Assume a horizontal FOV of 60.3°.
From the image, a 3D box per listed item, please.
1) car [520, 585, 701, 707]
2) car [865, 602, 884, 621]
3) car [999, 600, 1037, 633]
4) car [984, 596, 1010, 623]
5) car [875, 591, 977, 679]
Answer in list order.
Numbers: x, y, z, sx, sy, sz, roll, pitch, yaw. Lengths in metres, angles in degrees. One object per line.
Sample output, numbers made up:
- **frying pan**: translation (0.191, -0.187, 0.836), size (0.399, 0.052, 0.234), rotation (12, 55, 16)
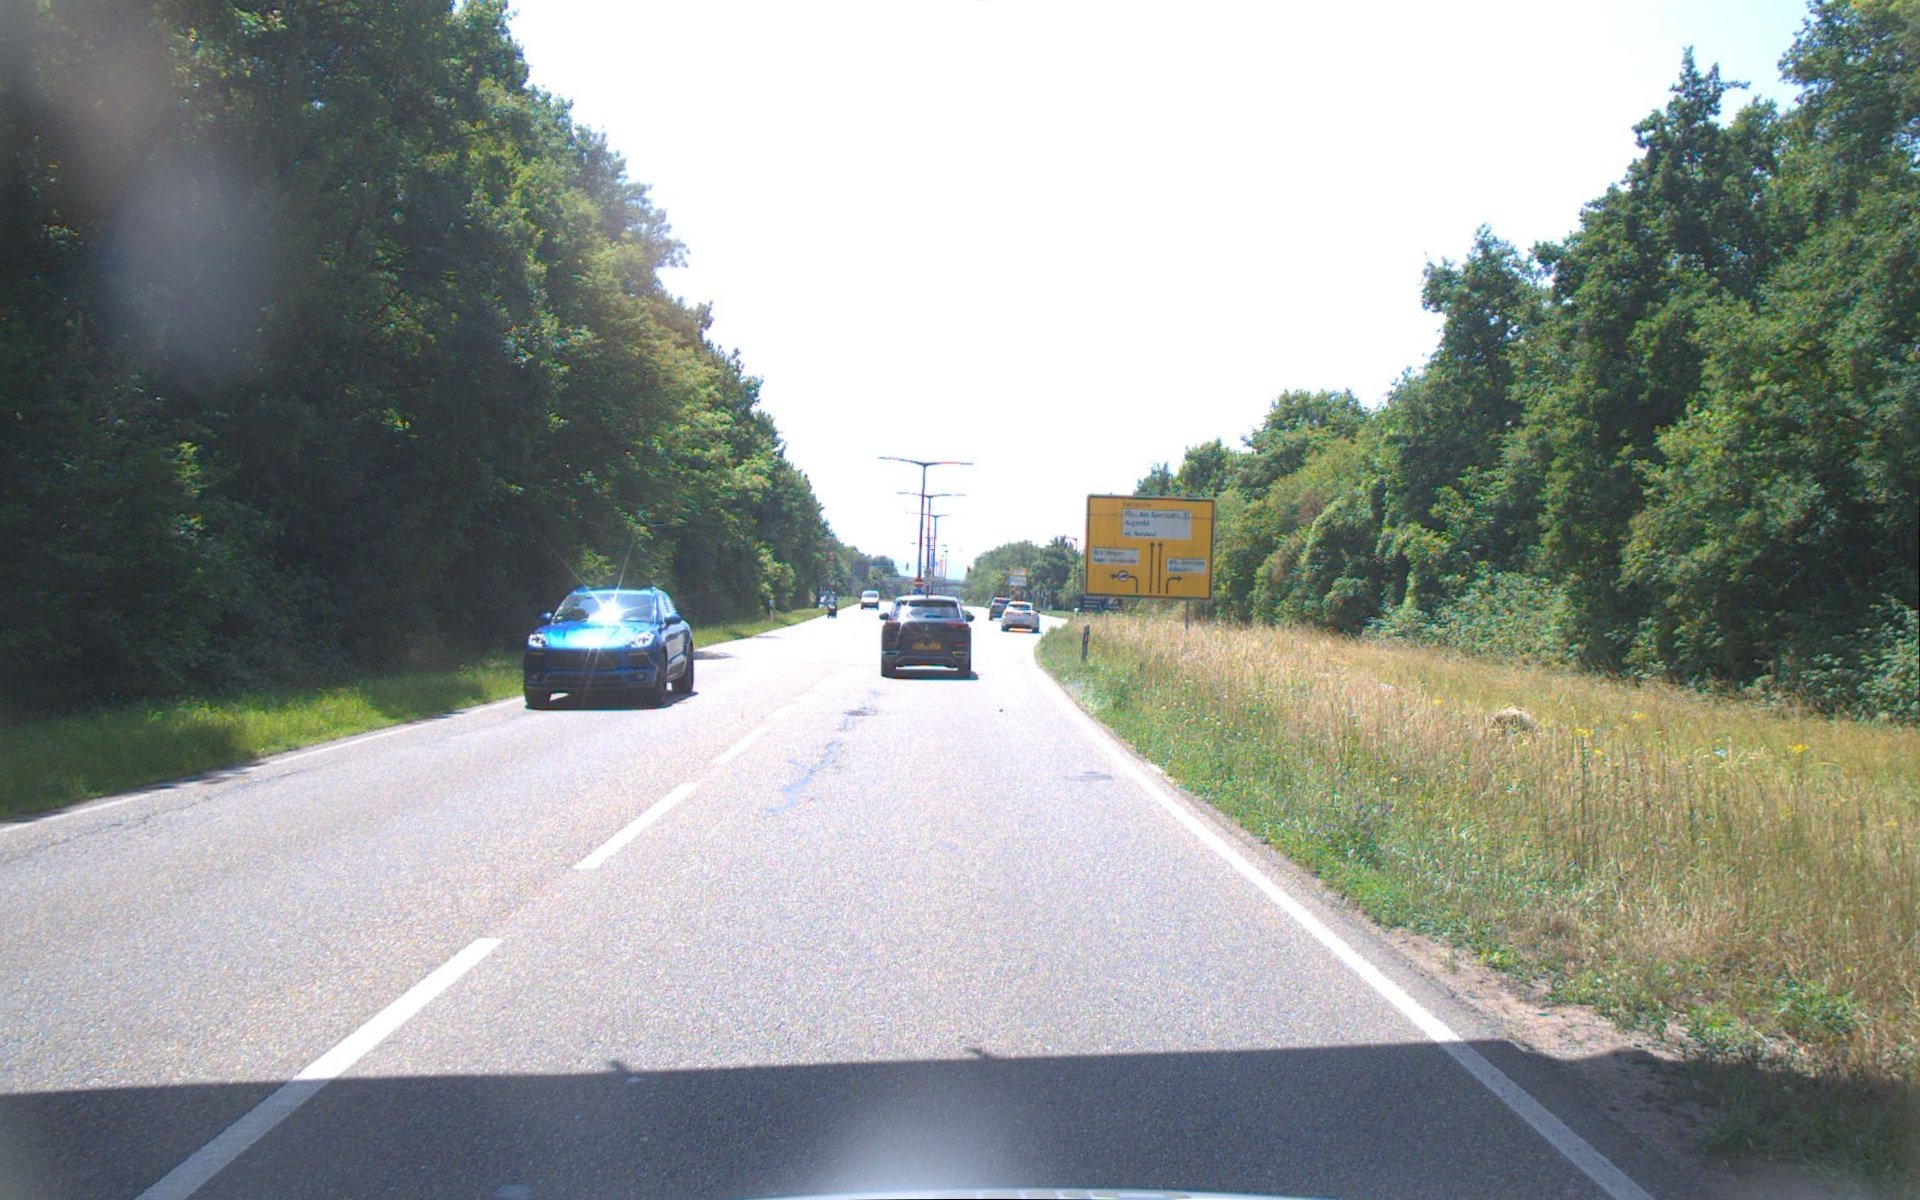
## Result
- **car**: translation (-5.012, 0.609, 24.277), size (1.786, 1.618, 4.418), rotation (0, 0, -1)
- **car**: translation (-8.047, 1.063, 156.130), size (1.697, 1.717, 4.094), rotation (0, 0, -2)
- **car**: translation (2.854, 0.804, 81.748), size (1.760, 1.611, 4.000), rotation (1, 0, 1)
- **car**: translation (2.813, 0.711, 125.260), size (1.720, 1.962, 3.999), rotation (3, 0, -1)
- **car**: translation (-0.734, 0.661, 32.957), size (1.721, 1.583, 3.996), rotation (2, 0, -5)
